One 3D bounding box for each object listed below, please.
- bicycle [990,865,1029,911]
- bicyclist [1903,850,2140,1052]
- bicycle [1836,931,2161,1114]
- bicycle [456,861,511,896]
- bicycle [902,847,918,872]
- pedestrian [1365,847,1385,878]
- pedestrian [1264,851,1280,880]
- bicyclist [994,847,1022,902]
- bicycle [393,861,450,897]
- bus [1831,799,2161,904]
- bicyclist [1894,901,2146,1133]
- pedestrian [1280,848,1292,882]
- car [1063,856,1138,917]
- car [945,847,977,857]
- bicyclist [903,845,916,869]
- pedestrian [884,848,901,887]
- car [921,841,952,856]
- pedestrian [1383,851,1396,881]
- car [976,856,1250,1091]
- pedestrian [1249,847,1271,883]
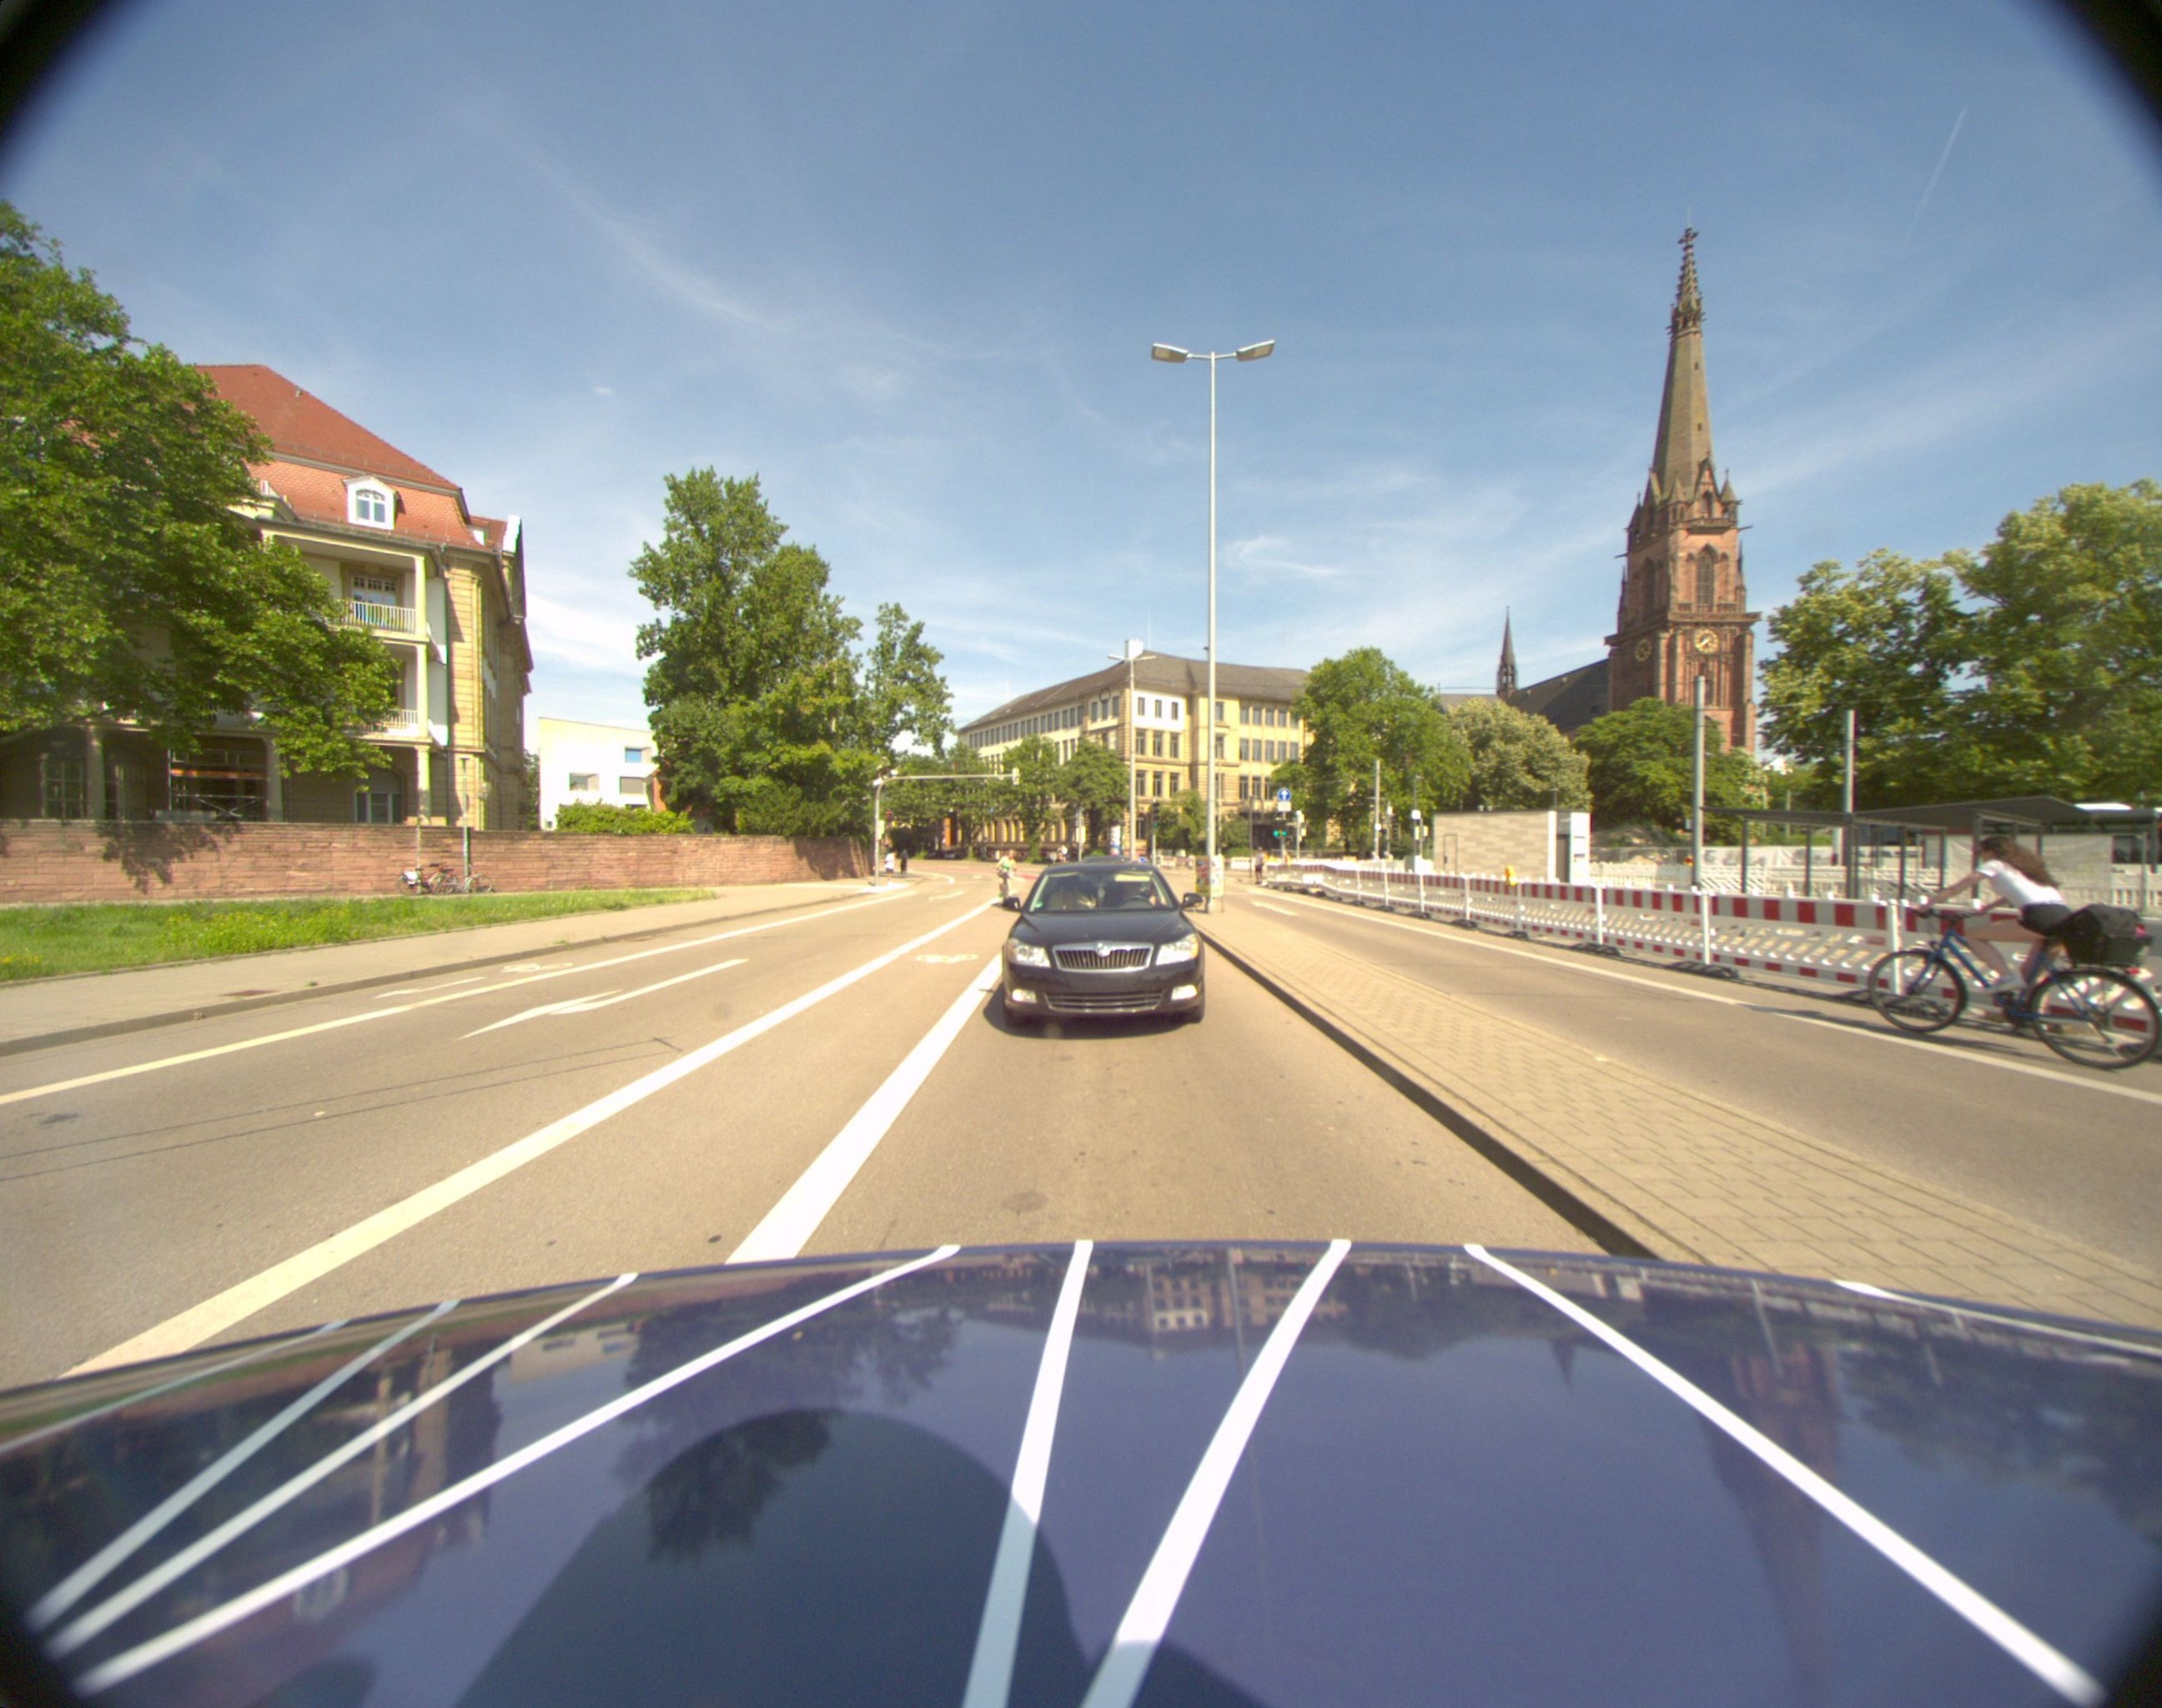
[{"bbox_3d":[-2.109,0.960,22.043,0.687,1.215,2.183,0,1,-17],"label":"bicycle"},{"bbox_3d":[7.222,0.697,5.891,0.620,1.435,0.920,1,1,-4],"label":"bicyclist"},{"bbox_3d":[7.211,1.196,5.903,0.620,0.955,1.967,1,1,-4],"label":"bicycle"},{"bbox_3d":[-20.396,0.822,25.973,0.348,1.116,1.438,1,1,35],"label":"bicycle"},{"bbox_3d":[-12.173,0.373,54.079,0.680,1.755,1.811,1,1,1],"label":"bicycle"},{"bbox_3d":[15.598,0.428,40.281,0.795,1.606,0.660,-1,1,-32],"label":"pedestrian"},{"bbox_3d":[10.139,0.597,40.364,0.424,1.534,0.666,-3,1,-23],"label":"pedestrian"},{"bbox_3d":[-2.130,0.576,22.074,0.589,1.539,0.930,-2,2,-17],"label":"bicyclist"},{"bbox_3d":[-21.387,0.799,24.677,0.348,1.116,1.437,1,1,15],"label":"bicycle"},{"bbox_3d":[35.941,-0.111,27.152,2.867,3.469,12.624,0,1,-34],"label":"bus"},{"bbox_3d":[7.211,1.196,5.903,0.620,1.573,1.013,1,1,-4],"label":"bicyclist"},{"bbox_3d":[9.764,0.518,36.196,0.350,1.606,0.686,0,1,2],"label":"pedestrian"},{"bbox_3d":[0.450,0.800,20.536,1.802,1.368,4.275,-1,1,-1],"label":"car"},{"bbox_3d":[-16.698,-0.286,105.971,4.008,1.455,1.994,0,1,-35],"label":"car"},{"bbox_3d":[-12.180,0.213,54.083,0.680,1.646,0.919,1,1,1],"label":"bicyclist"},{"bbox_3d":[-9.030,0.641,36.374,0.654,1.863,0.795,2,1,-18],"label":"pedestrian"},{"bbox_3d":[-20.949,-0.800,110.014,4.008,2.002,1.994,0,1,-35],"label":"car"},{"bbox_3d":[16.651,0.638,40.959,0.584,1.606,0.690,0,1,26],"label":"pedestrian"},{"bbox_3d":[0.311,0.868,7.855,1.864,1.510,4.827,-4,1,2],"label":"car"},{"bbox_3d":[8.900,0.534,37.812,0.651,1.802,0.839,-1,1,-44],"label":"pedestrian"}]
